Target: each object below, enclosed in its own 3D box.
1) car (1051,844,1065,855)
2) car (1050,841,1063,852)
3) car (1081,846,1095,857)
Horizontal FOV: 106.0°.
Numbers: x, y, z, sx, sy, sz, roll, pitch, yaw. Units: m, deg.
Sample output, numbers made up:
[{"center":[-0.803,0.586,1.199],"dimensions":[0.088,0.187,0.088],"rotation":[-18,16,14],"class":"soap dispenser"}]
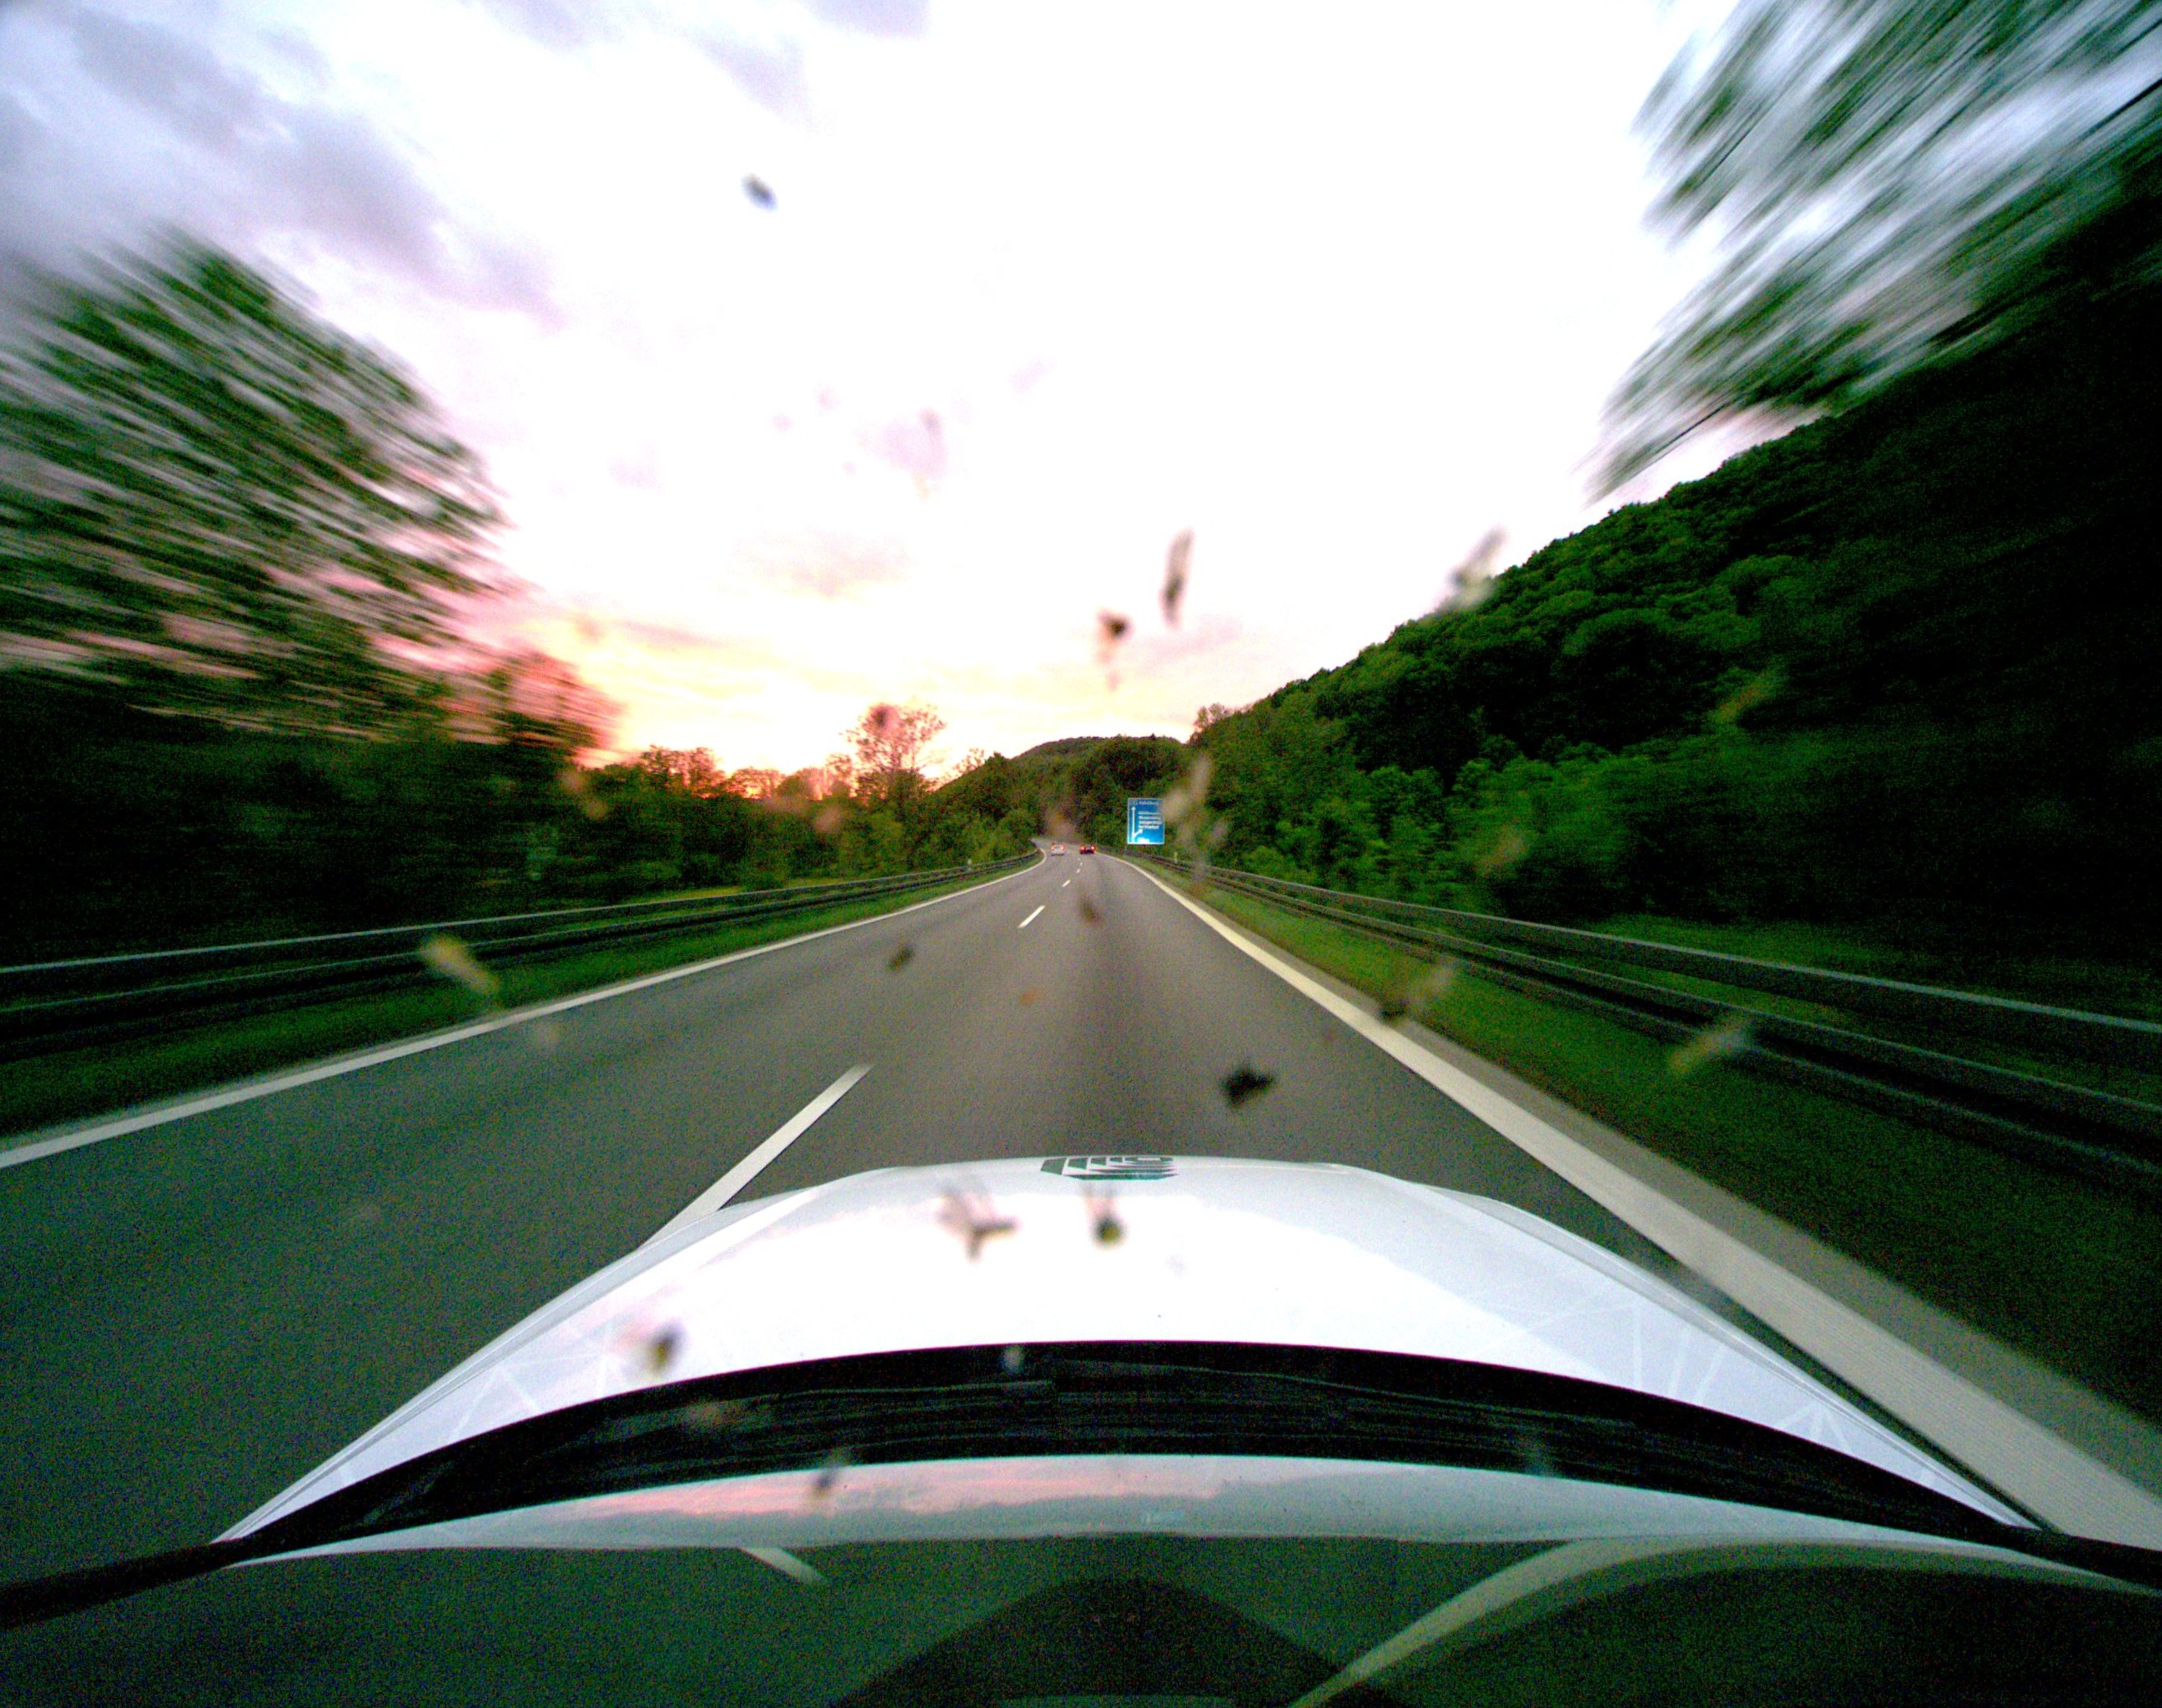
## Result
[{"center":[-3.184,-0.651,112.933],"dimensions":[1.712,1.501,4.001],"rotation":[-1,0,1],"class":"car"},{"center":[-3.718,-1.151,125.596],"dimensions":[1.712,1.635,4.001],"rotation":[-1,0,1],"class":"car"},{"center":[1.004,-0.363,116.042],"dimensions":[1.871,1.466,4.001],"rotation":[-1,0,1],"class":"car"}]
